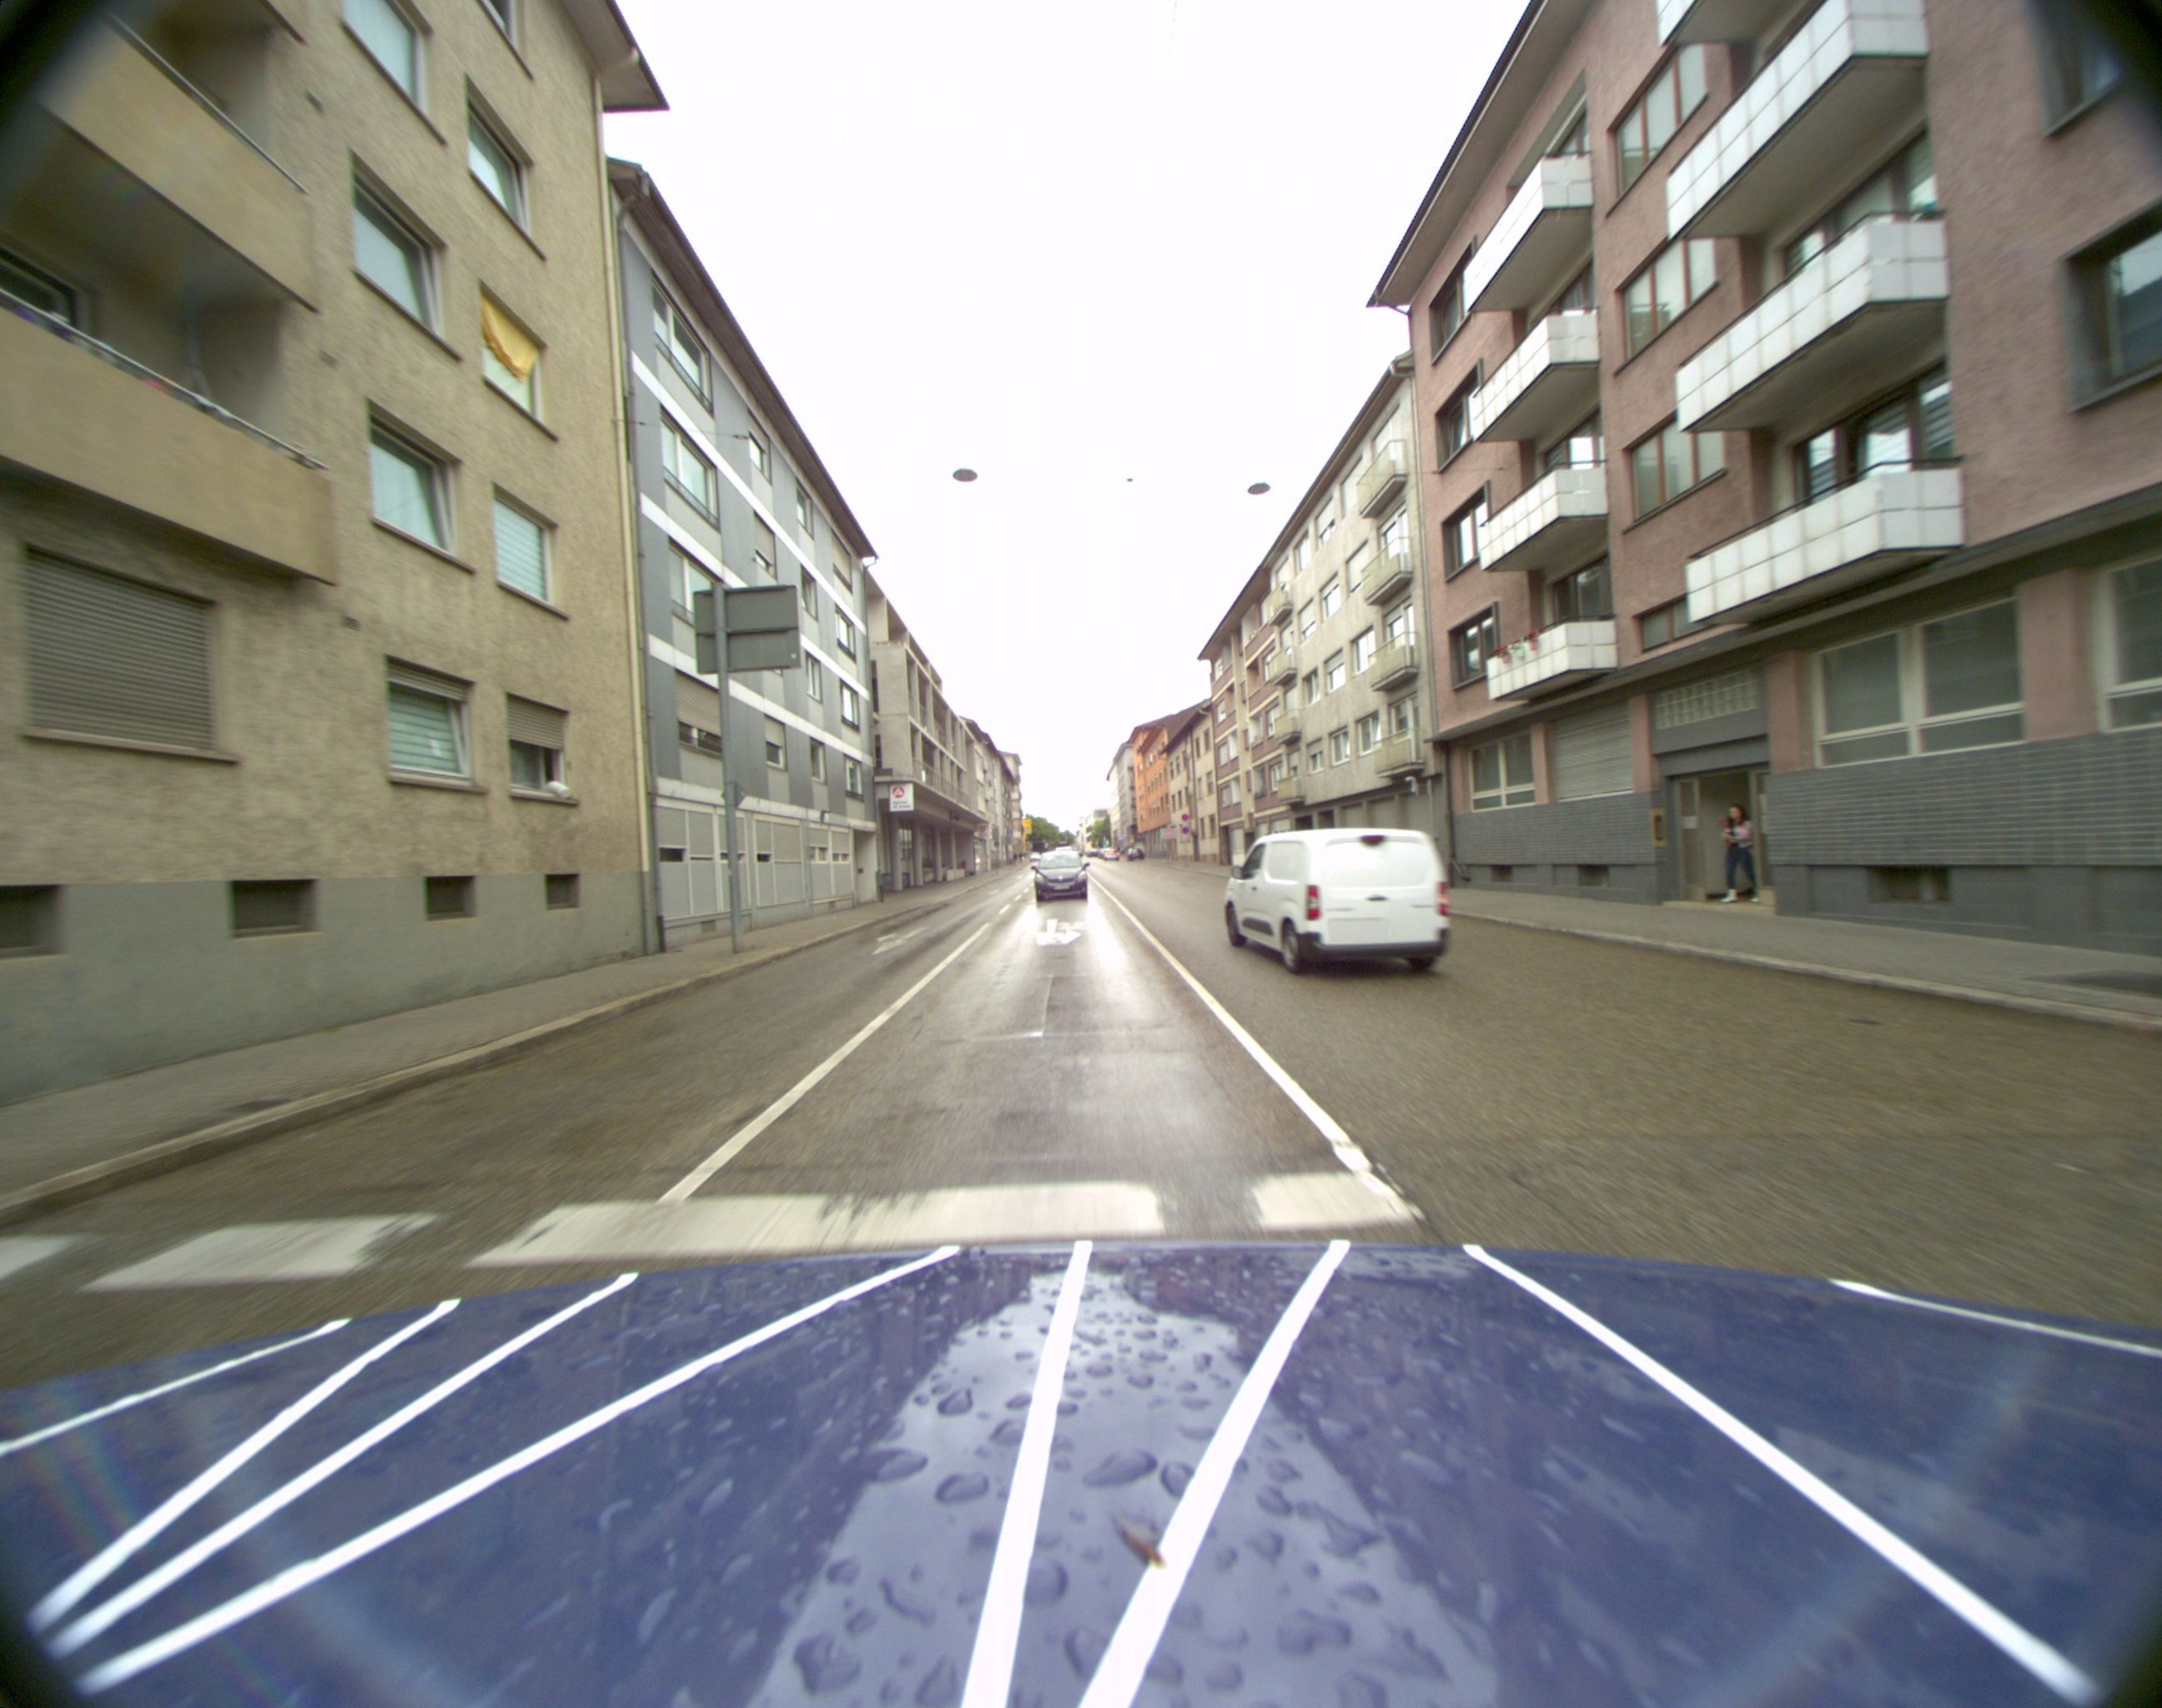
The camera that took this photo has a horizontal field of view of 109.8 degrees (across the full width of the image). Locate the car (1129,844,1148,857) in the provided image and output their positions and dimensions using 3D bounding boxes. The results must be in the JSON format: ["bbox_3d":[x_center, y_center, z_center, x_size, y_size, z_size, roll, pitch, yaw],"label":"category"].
[{"bbox_3d":[6.787,-0.411,90.026,1.708,1.447,3.803,-4,1,-4],"label":"car"}]

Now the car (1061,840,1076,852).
[{"bbox_3d":[-1.799,-1.150,109.428,1.851,1.652,3.678,-4,1,1],"label":"car"}]

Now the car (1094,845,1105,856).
[{"bbox_3d":[3.190,-0.626,129.776,1.722,1.652,3.678,-4,1,0],"label":"car"}]

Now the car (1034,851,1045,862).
[{"bbox_3d":[-7.208,0.373,132.455,1.722,1.652,3.678,-4,1,0],"label":"car"}]

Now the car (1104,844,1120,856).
[{"bbox_3d":[3.857,-0.466,95.139,1.732,1.452,4.070,0,1,-2],"label":"car"}]

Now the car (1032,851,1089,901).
[{"bbox_3d":[-0.728,0.746,26.889,1.732,1.472,4.072,-5,0,-2],"label":"car"}]

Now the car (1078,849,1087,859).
[{"bbox_3d":[0.260,0.002,151.044,1.722,1.652,3.678,-4,1,0],"label":"car"}]

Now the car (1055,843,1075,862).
[{"bbox_3d":[-1.519,-0.148,74.708,1.722,1.652,3.678,-4,1,1],"label":"car"}]

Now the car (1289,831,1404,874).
[{"bbox_3d":[11.647,-0.071,33.498,4.307,1.566,1.999,-4,1,-4],"label":"car"}]

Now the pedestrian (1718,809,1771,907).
[{"bbox_3d":[11.023,0.055,12.619,0.451,1.551,0.528,-8,7,-26],"label":"pedestrian"}]

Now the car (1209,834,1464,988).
[{"bbox_3d":[3.239,0.620,10.725,1.811,1.705,4.544,0,0,-4],"label":"car"}]

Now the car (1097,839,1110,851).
[{"bbox_3d":[3.339,-1.374,112.039,1.722,1.652,3.678,-4,1,0],"label":"car"}]
